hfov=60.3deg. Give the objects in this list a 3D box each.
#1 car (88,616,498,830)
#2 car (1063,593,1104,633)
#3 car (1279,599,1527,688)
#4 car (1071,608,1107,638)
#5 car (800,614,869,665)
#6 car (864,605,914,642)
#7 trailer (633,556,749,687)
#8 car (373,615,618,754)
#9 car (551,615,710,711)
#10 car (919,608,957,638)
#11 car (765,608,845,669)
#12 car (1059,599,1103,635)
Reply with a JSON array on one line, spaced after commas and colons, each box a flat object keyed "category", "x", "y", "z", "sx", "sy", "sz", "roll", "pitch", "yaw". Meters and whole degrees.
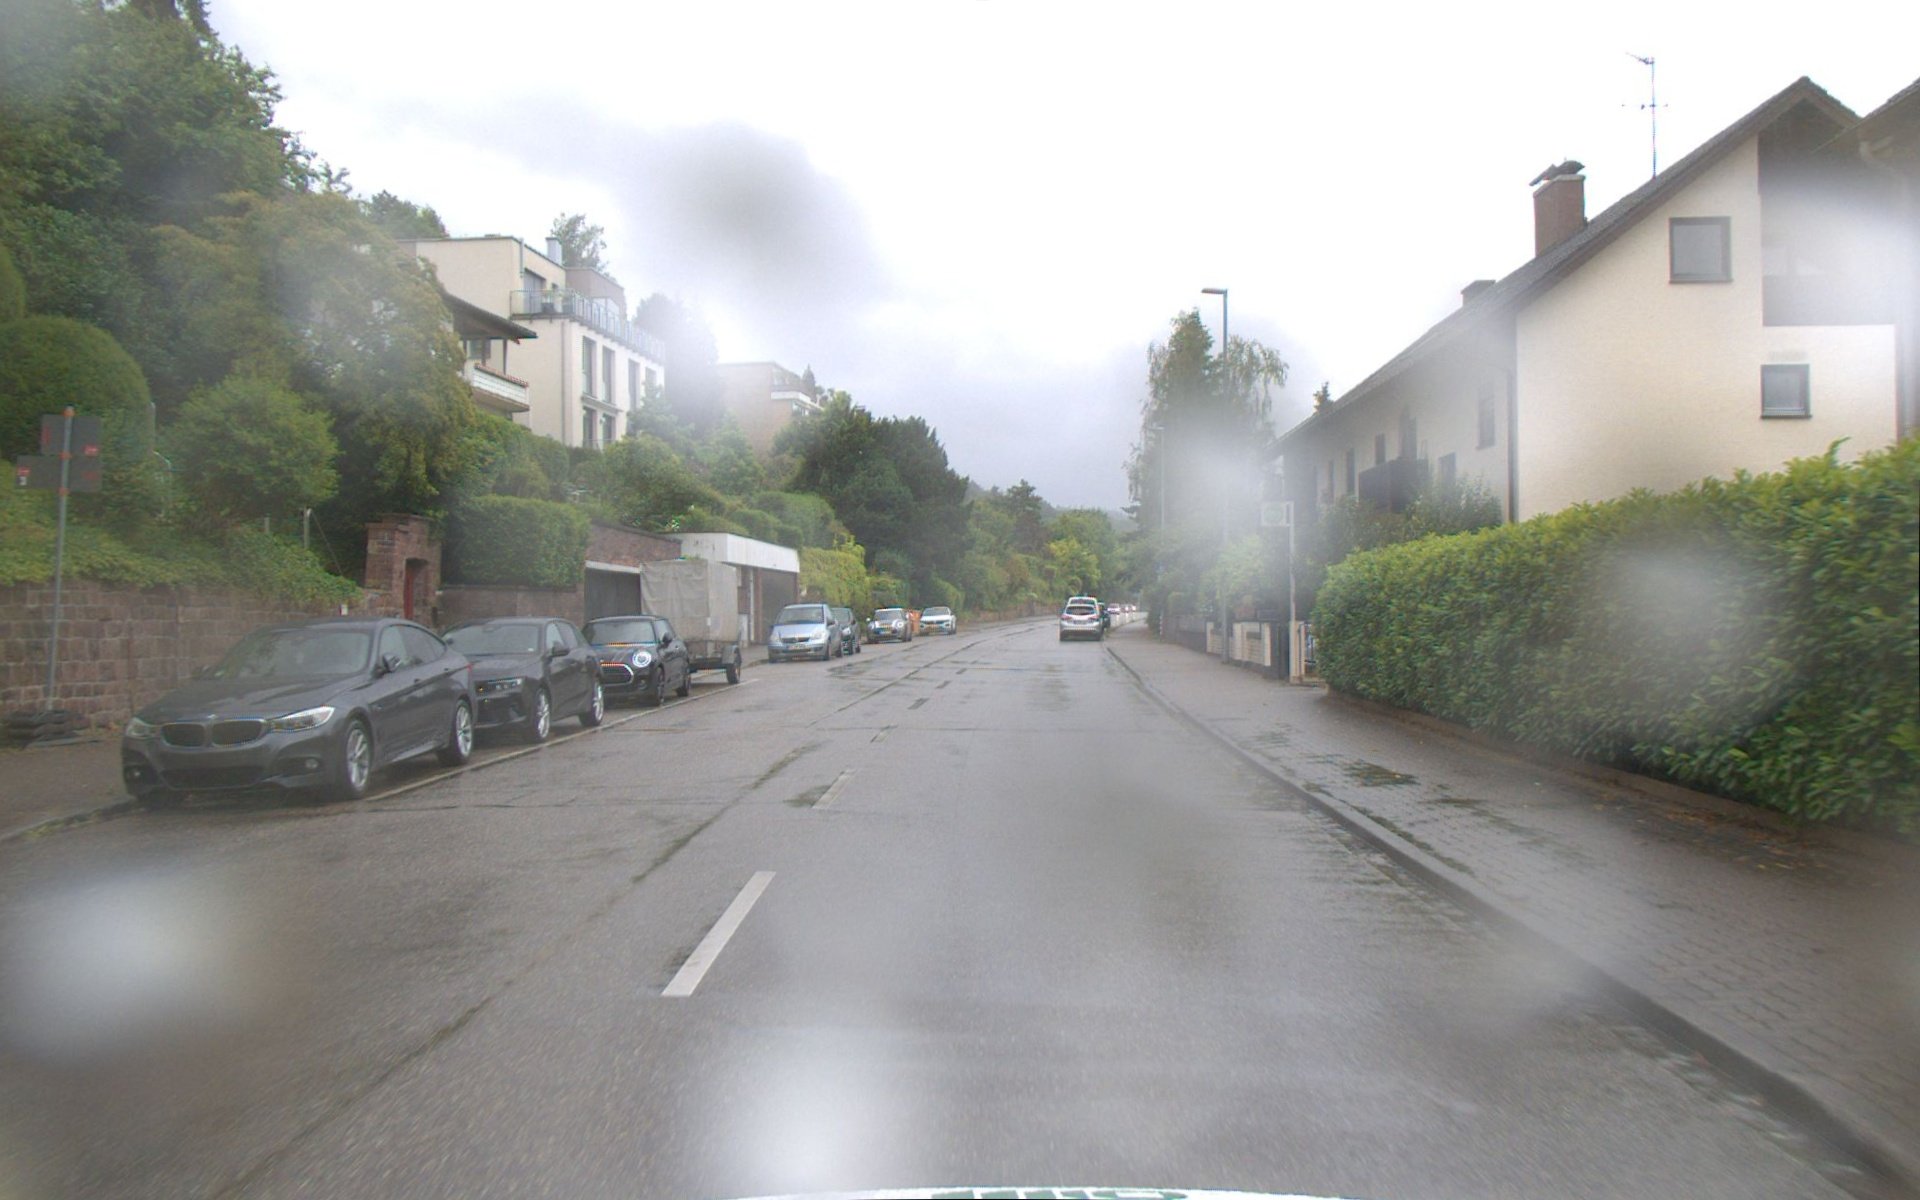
[{"category": "car", "x": -5.757, "y": 0.965, "z": 15.001, "sx": 1.749, "sy": 1.480, "sz": 4.755, "roll": -3, "pitch": 0, "yaw": 0}, {"category": "car", "x": 5.735, "y": 0.604, "z": 76.160, "sx": 1.746, "sy": 1.822, "sz": 4.364, "roll": 0, "pitch": -1, "yaw": 6}, {"category": "car", "x": 8.185, "y": 0.789, "z": 30.768, "sx": 4.135, "sy": 1.471, "sz": 1.702, "roll": 2, "pitch": 0, "yaw": 0}, {"category": "car", "x": 6.436, "y": 1.138, "z": 82.134, "sx": 1.673, "sy": 1.428, "sz": 4.206, "roll": 0, "pitch": -1, "yaw": 6}, {"category": "car", "x": -4.005, "y": 1.233, "z": 53.165, "sx": 1.719, "sy": 1.433, "sz": 3.706, "roll": -3, "pitch": 0, "yaw": 2}, {"category": "car", "x": -3.009, "y": 0.974, "z": 70.455, "sx": 1.719, "sy": 1.427, "sz": 3.771, "roll": -3, "pitch": 0, "yaw": 3}, {"category": "trailer", "x": -5.343, "y": 0.410, "z": 33.154, "sx": 1.504, "sy": 2.441, "sz": 3.074, "roll": -2, "pitch": 0, "yaw": 5}, {"category": "car", "x": -5.632, "y": 0.965, "z": 20.609, "sx": 1.749, "sy": 1.440, "sz": 4.218, "roll": -2, "pitch": 0, "yaw": 1}, {"category": "car", "x": -5.358, "y": 0.985, "z": 27.319, "sx": 1.771, "sy": 1.373, "sz": 3.776, "roll": -2, "pitch": 0, "yaw": 1}, {"category": "car", "x": -1.161, "y": 1.250, "z": 89.435, "sx": 1.719, "sy": 1.524, "sz": 4.222, "roll": -2, "pitch": -1, "yaw": 4}, {"category": "car", "x": -4.400, "y": 1.080, "z": 47.581, "sx": 1.719, "sy": 1.566, "sz": 3.758, "roll": -3, "pitch": 0, "yaw": 2}, {"category": "car", "x": 5.196, "y": 0.741, "z": 70.564, "sx": 1.751, "sy": 1.485, "sz": 4.311, "roll": 0, "pitch": -1, "yaw": 6}]
